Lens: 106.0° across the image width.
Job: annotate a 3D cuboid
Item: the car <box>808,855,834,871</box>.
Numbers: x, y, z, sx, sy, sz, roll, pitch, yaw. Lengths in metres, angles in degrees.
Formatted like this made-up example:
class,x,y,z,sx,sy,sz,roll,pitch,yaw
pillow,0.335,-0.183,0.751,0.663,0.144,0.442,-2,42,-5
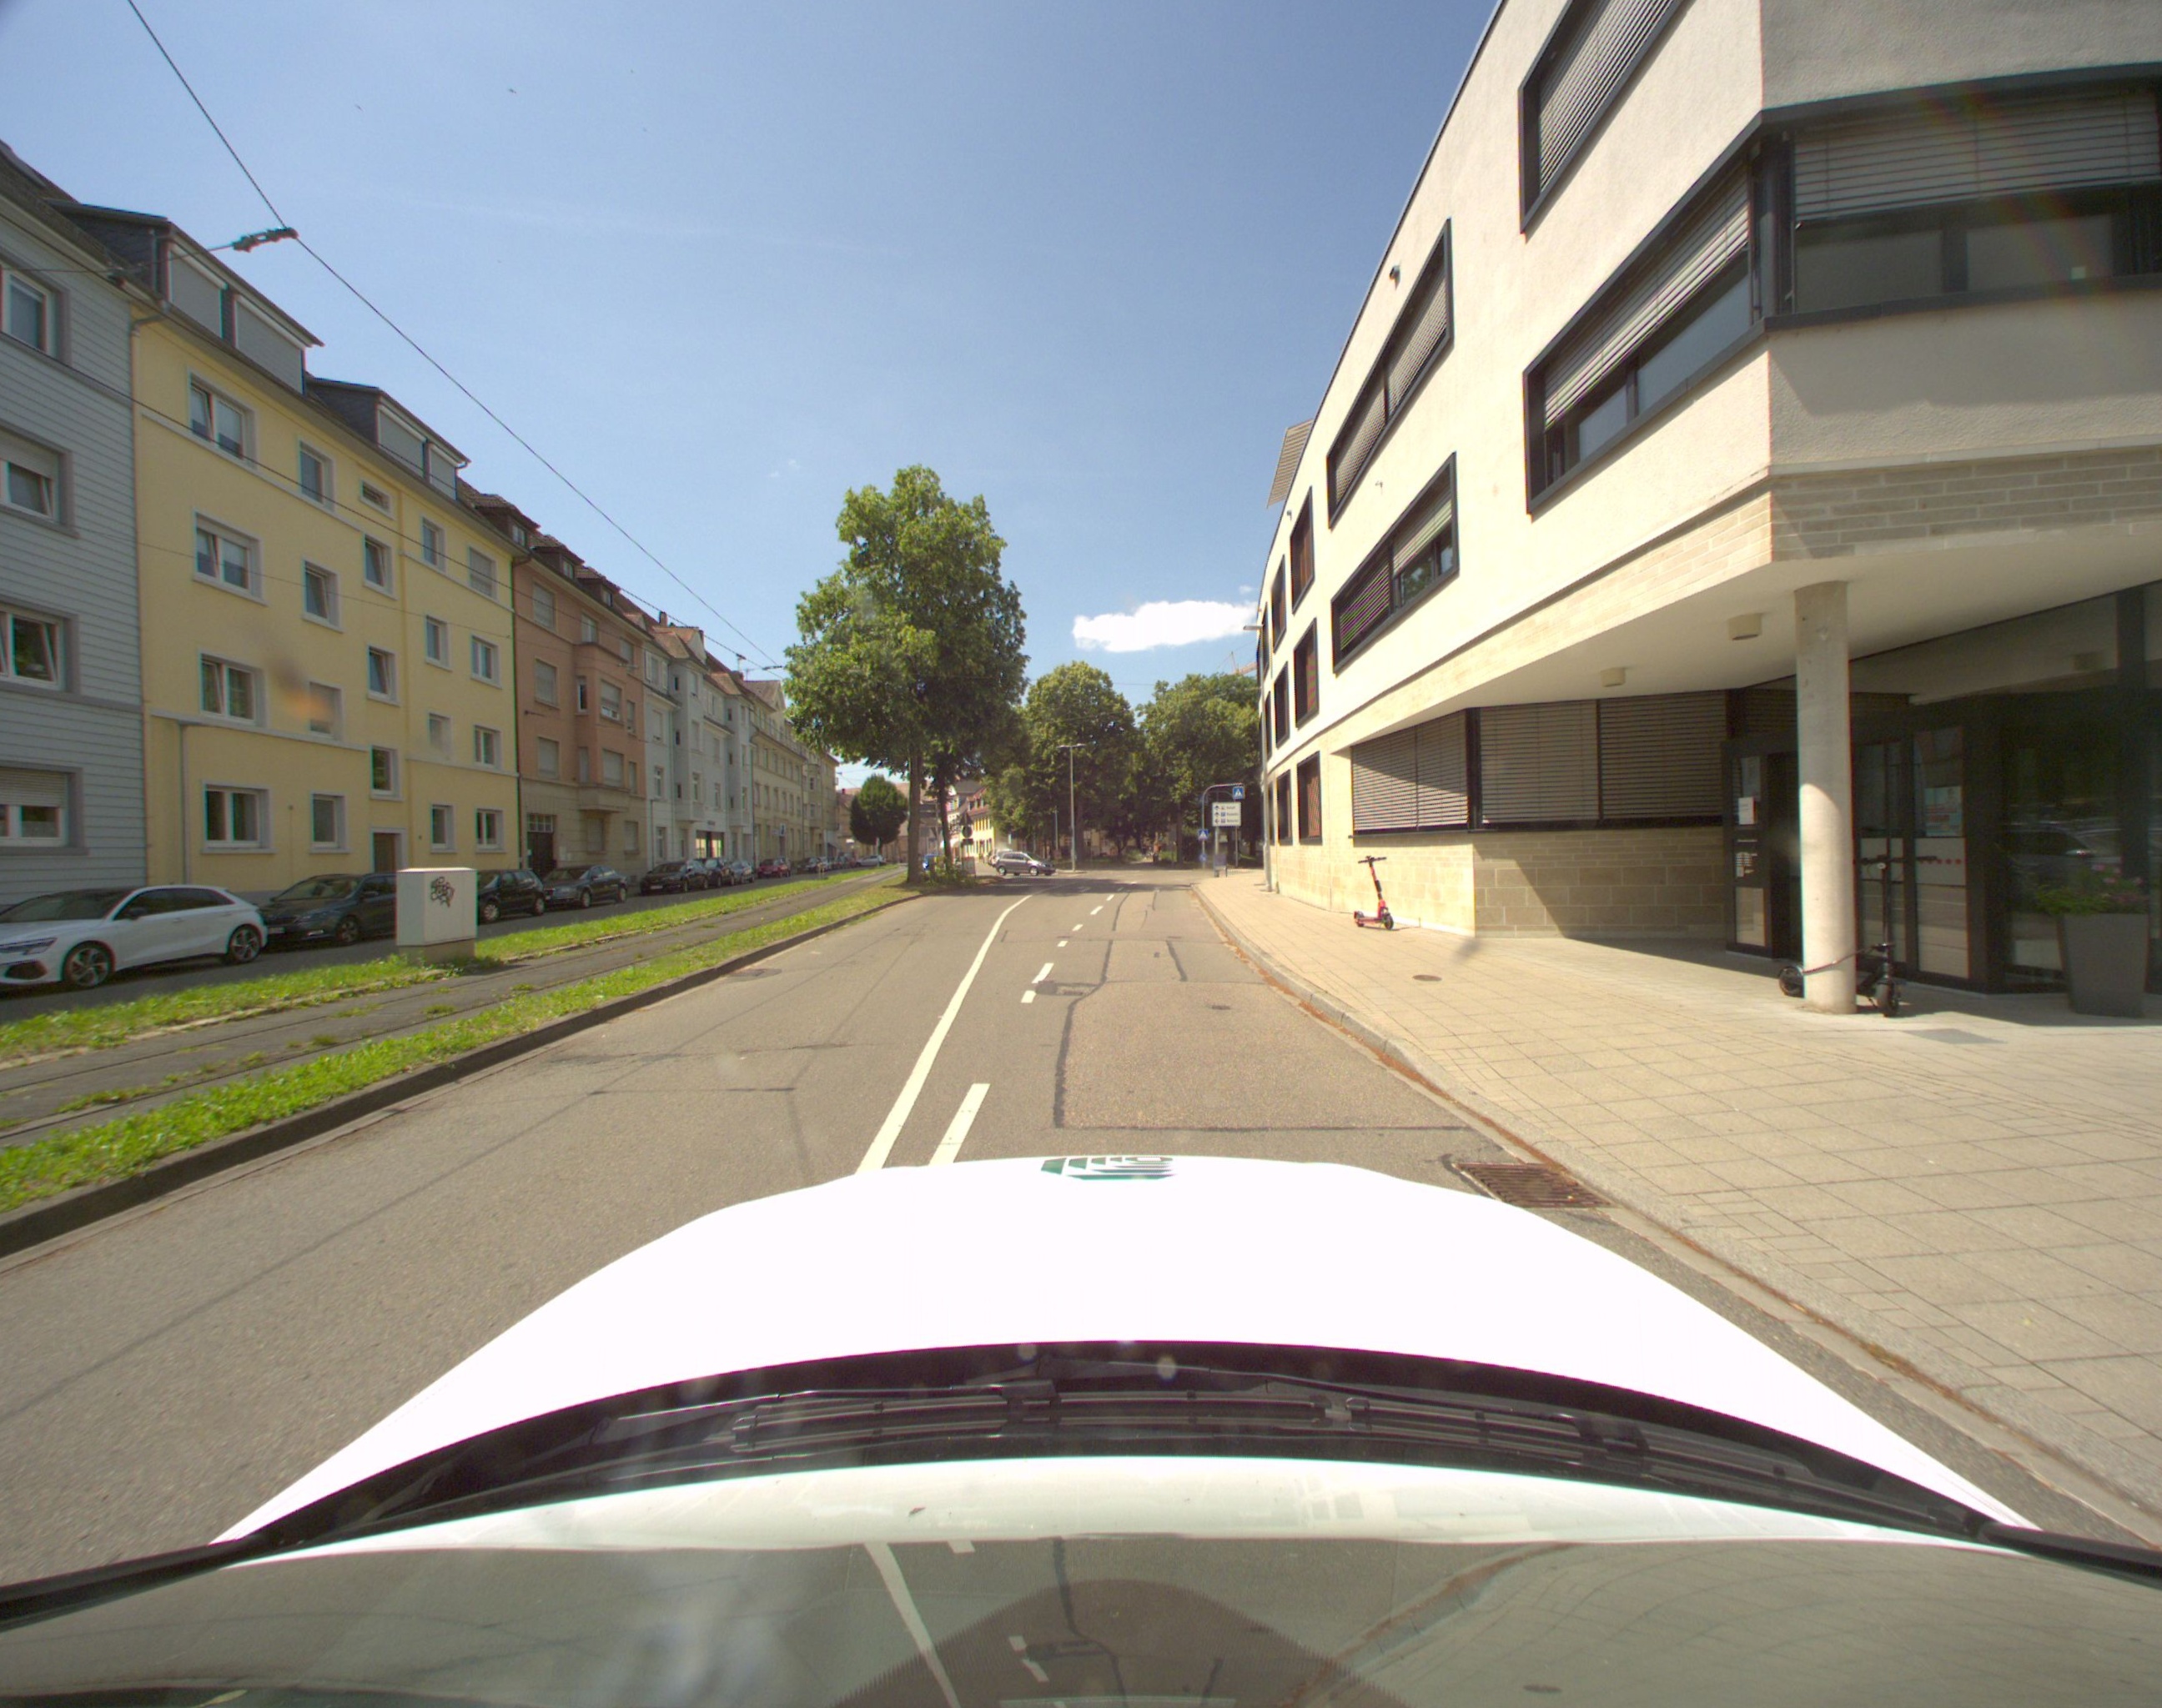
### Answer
class,x,y,z,sx,sy,sz,roll,pitch,yaw
car,-25.058,0.855,78.614,1.686,1.390,3.846,-3,1,-9

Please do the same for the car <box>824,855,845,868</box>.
class,x,y,z,sx,sy,sz,roll,pitch,yaw
car,-26.575,0.824,87.930,1.601,1.277,3.576,-3,1,-9

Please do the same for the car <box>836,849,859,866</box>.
class,x,y,z,sx,sy,sz,roll,pitch,yaw
car,-27.872,0.426,97.277,1.853,1.911,4.757,-3,1,-9

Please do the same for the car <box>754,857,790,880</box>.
class,x,y,z,sx,sy,sz,roll,pitch,yaw
car,-22.059,1.004,58.190,1.571,1.451,3.615,-3,1,-9

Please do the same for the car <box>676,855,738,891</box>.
class,x,y,z,sx,sy,sz,roll,pitch,yaw
car,-19.728,0.953,43.097,1.836,1.685,4.130,-3,1,-9

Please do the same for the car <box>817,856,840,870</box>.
class,x,y,z,sx,sy,sz,roll,pitch,yaw
car,-25.853,0.865,83.402,1.686,1.277,3.279,-3,1,-9

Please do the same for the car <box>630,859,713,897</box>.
class,x,y,z,sx,sy,sz,roll,pitch,yaw
car,-18.748,1.042,37.581,1.927,1.490,4.849,-3,1,-9

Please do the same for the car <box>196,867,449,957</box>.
class,x,y,z,sx,sy,sz,roll,pitch,yaw
car,-16.045,1.127,17.618,1.928,1.505,4.310,-3,1,-11

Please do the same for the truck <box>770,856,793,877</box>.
class,x,y,z,sx,sy,sz,roll,pitch,yaw
truck,-22.894,0.954,62.305,1.126,1.494,2.586,-3,1,-10

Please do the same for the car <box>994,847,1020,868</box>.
class,x,y,z,sx,sy,sz,roll,pitch,yaw
car,-6.733,0.310,73.614,1.993,1.826,4.409,-1,0,-9

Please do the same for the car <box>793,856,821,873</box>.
class,x,y,z,sx,sy,sz,roll,pitch,yaw
car,-24.561,0.949,73.030,1.686,1.360,3.846,-3,1,-9

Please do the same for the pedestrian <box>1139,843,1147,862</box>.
class,x,y,z,sx,sy,sz,roll,pitch,yaw
pedestrian,6.453,-0.160,84.892,0.744,1.910,0.685,-1,2,6

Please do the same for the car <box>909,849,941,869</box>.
class,x,y,z,sx,sy,sz,roll,pitch,yaw
car,-12.582,0.368,65.808,1.803,1.492,4.000,-1,1,0

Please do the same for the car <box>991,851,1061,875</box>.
class,x,y,z,sx,sy,sz,roll,pitch,yaw
car,-3.573,0.562,52.976,4.189,1.534,1.922,0,0,33

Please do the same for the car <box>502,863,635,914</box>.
class,x,y,z,sx,sy,sz,roll,pitch,yaw
car,-17.306,1.097,27.825,1.926,1.398,4.850,-3,1,-8

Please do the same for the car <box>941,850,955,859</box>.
class,x,y,z,sx,sy,sz,roll,pitch,yaw
car,-22.528,0.149,137.666,1.864,1.486,3.979,-1,0,-15

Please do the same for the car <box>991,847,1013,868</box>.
class,x,y,z,sx,sy,sz,roll,pitch,yaw
car,-8.018,0.294,81.921,2.047,2.002,5.236,-1,1,-7

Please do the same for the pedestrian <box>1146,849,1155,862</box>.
class,x,y,z,sx,sy,sz,roll,pitch,yaw
pedestrian,7.194,0.178,84.258,0.901,1.252,1.150,-1,2,6

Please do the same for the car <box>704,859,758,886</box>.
class,x,y,z,sx,sy,sz,roll,pitch,yaw
car,-20.462,1.074,47.750,1.807,1.356,4.237,-3,1,-9

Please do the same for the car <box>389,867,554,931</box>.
class,x,y,z,sx,sy,sz,roll,pitch,yaw
car,-16.572,1.154,22.435,1.830,1.400,4.130,-3,1,-8

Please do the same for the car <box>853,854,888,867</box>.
class,x,y,z,sx,sy,sz,roll,pitch,yaw
car,-26.696,0.815,103.378,4.207,1.505,1.995,-3,1,-13

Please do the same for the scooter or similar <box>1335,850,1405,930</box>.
class,x,y,z,sx,sy,sz,roll,pitch,yaw
scooter or similar,4.850,0.576,13.743,0.580,1.260,1.366,-4,0,-3

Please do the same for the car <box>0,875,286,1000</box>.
class,x,y,z,sx,sy,sz,roll,pitch,yaw
car,-14.923,1.172,12.337,1.928,1.451,4.360,-4,1,-11

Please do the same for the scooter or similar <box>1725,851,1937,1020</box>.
class,x,y,z,sx,sy,sz,roll,pitch,yaw
scooter or similar,6.005,0.593,6.611,0.421,1.211,1.312,-2,0,-5
